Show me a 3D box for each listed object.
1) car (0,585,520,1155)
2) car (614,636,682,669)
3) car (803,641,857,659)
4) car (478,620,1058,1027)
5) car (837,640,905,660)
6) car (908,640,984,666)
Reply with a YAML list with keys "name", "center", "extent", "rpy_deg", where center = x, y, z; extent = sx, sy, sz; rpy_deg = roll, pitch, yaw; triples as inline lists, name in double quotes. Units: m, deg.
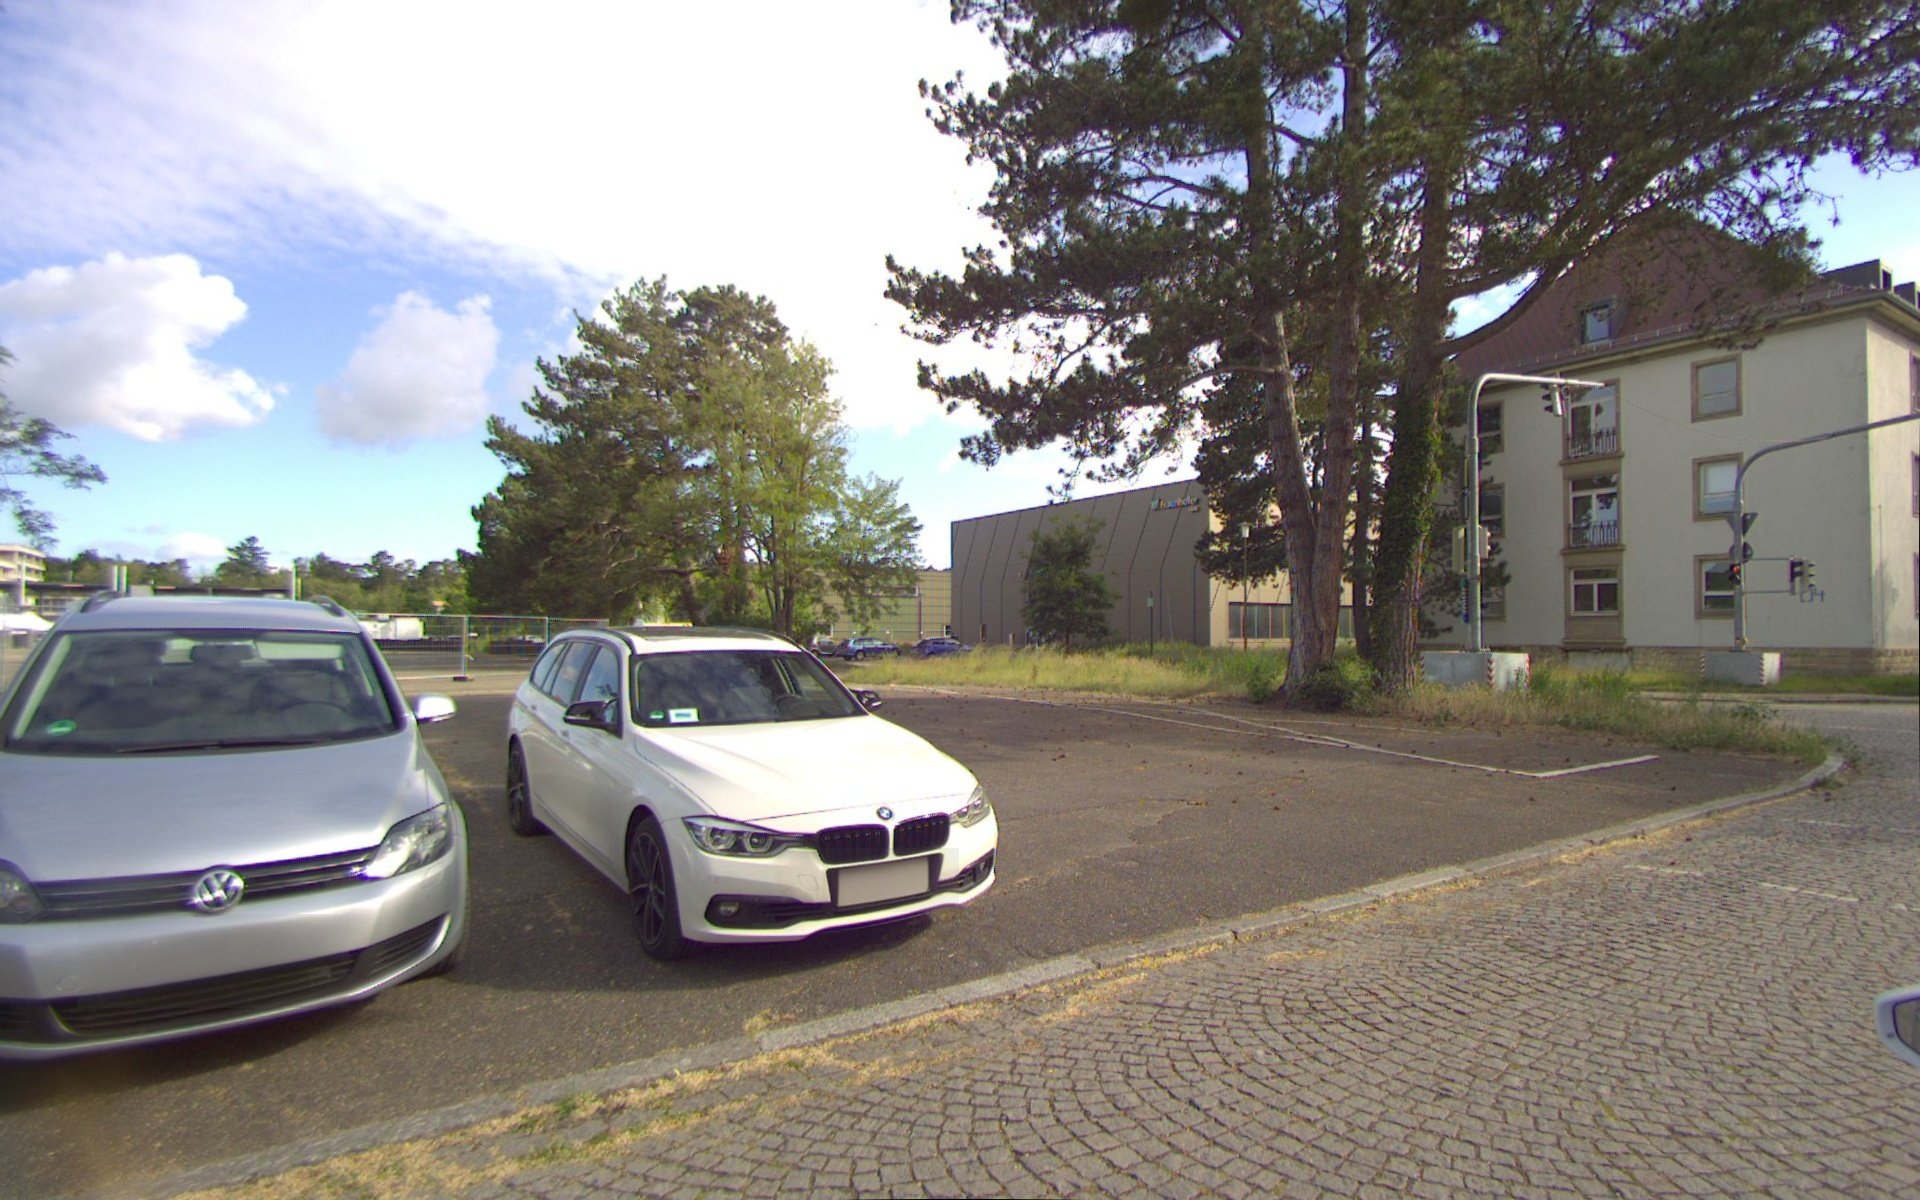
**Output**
- name: "car"
  center: [-3.426, 0.768, 4.749]
  extent: [1.719, 1.628, 3.805]
  rpy_deg: [1, 0, -35]
- name: "car"
  center: [-13.341, 2.216, 42.803]
  extent: [1.577, 1.354, 3.703]
  rpy_deg: [1, -2, -38]
- name: "car"
  center: [-9.270, 3.547, 71.719]
  extent: [3.623, 1.217, 1.319]
  rpy_deg: [1, -2, -30]
- name: "car"
  center: [-1.557, 0.918, 6.235]
  extent: [1.813, 1.461, 4.446]
  rpy_deg: [1, 0, -36]
- name: "car"
  center: [-5.748, 3.229, 65.268]
  extent: [4.148, 1.289, 1.598]
  rpy_deg: [1, -2, -30]
- name: "car"
  center: [-0.779, 3.025, 57.616]
  extent: [4.083, 1.433, 1.750]
  rpy_deg: [1, -2, -30]
